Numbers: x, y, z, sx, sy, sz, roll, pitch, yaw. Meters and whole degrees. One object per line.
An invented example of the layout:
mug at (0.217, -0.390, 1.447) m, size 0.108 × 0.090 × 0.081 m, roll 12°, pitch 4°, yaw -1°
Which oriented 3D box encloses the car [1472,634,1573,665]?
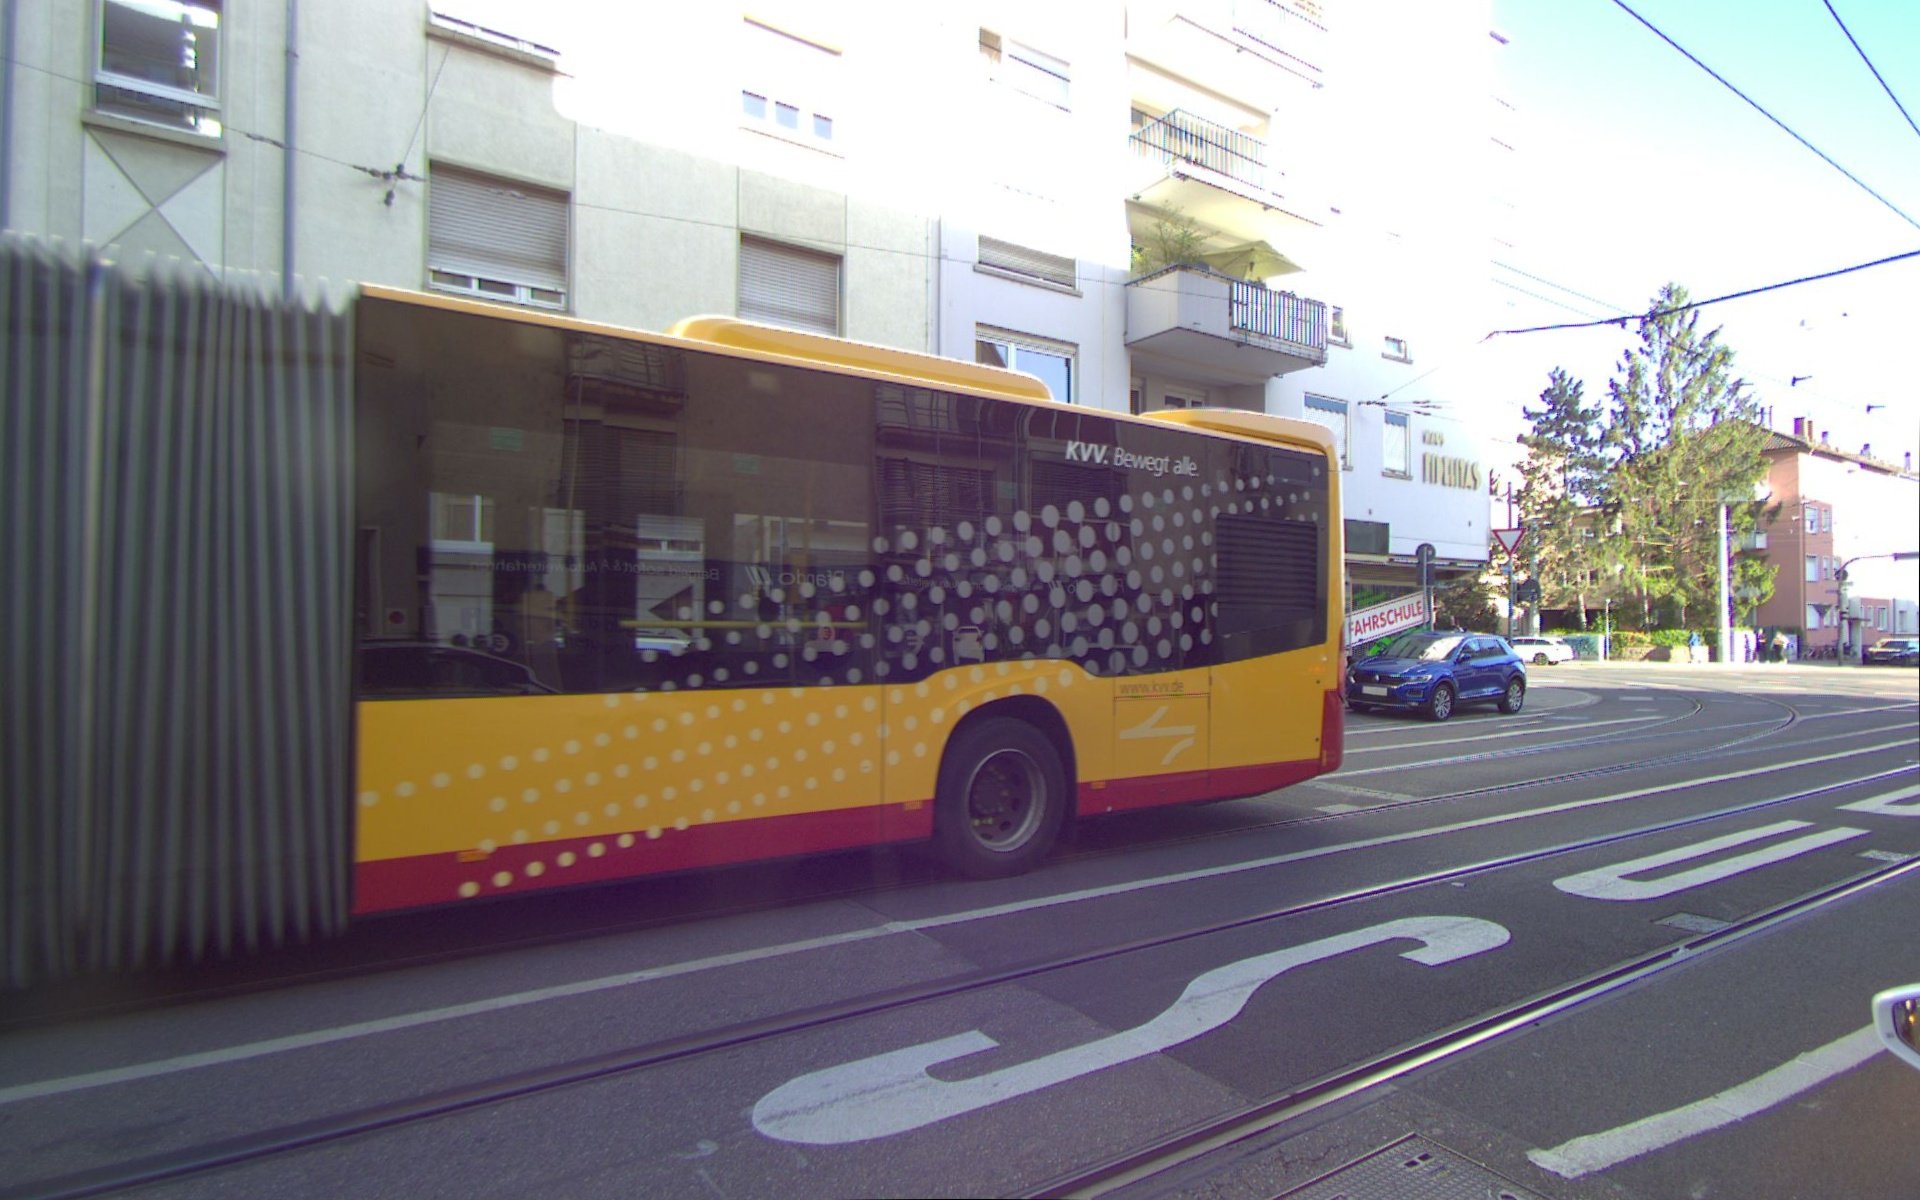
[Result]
car at (29.689, 2.576, 53.106) m, size 1.843 × 1.594 × 4.345 m, roll 2°, pitch -2°, yaw -43°

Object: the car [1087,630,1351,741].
car at (4.247, 1.313, 16.229) m, size 4.266 × 1.529 × 1.689 m, roll 2°, pitch -1°, yaw -33°

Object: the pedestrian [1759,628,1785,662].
pedestrian at (41.554, 2.283, 51.408) m, size 0.728 × 1.713 × 0.841 m, roll 1°, pitch -1°, yaw -27°

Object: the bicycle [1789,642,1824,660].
bicycle at (47.112, 2.808, 55.884) m, size 2.568 × 0.964 × 0.729 m, roll 1°, pitch -2°, yaw -32°

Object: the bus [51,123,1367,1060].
bus at (-0.732, 0.062, 6.699) m, size 7.500 × 3.203 × 2.721 m, roll 1°, pitch -2°, yaw -34°

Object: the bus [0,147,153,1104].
bus at (-8.037, 0.012, 1.718) m, size 10.089 × 3.200 × 2.706 m, roll 1°, pitch -2°, yaw -34°

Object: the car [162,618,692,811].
car at (-5.101, 1.006, 10.067) m, size 4.341 × 1.529 × 1.689 m, roll 2°, pitch -1°, yaw -34°

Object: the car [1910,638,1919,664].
car at (58.069, 2.998, 59.451) m, size 3.959 × 1.517 × 1.899 m, roll 1°, pitch -2°, yaw -34°

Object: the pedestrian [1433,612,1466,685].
pedestrian at (13.959, 1.378, 28.651) m, size 0.480 × 2.040 × 0.683 m, roll 1°, pitch -1°, yaw -30°

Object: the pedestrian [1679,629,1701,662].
pedestrian at (37.756, 2.348, 51.962) m, size 0.835 × 1.647 × 0.515 m, roll -1°, pitch -2°, yaw 27°

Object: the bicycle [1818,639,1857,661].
bicycle at (51.830, 2.929, 59.298) m, size 3.267 × 1.241 × 0.844 m, roll 1°, pitch -2°, yaw -32°

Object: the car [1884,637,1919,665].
car at (54.240, 2.854, 56.938) m, size 3.959 × 1.517 × 1.899 m, roll 1°, pitch -2°, yaw -34°

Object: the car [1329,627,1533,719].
car at (8.981, 1.325, 19.067) m, size 3.959 × 1.529 × 1.733 m, roll 2°, pitch -1°, yaw -35°

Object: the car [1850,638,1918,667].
car at (49.504, 2.786, 53.812) m, size 3.961 × 1.452 × 1.898 m, roll 1°, pitch -2°, yaw -36°

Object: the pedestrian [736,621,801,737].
pedestrian at (-2.700, 1.084, 14.157) m, size 0.713 × 1.569 × 0.694 m, roll 0°, pitch -1°, yaw -30°

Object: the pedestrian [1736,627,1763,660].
pedestrian at (41.083, 2.250, 52.271) m, size 0.728 × 1.713 × 0.841 m, roll 1°, pitch -1°, yaw -27°
